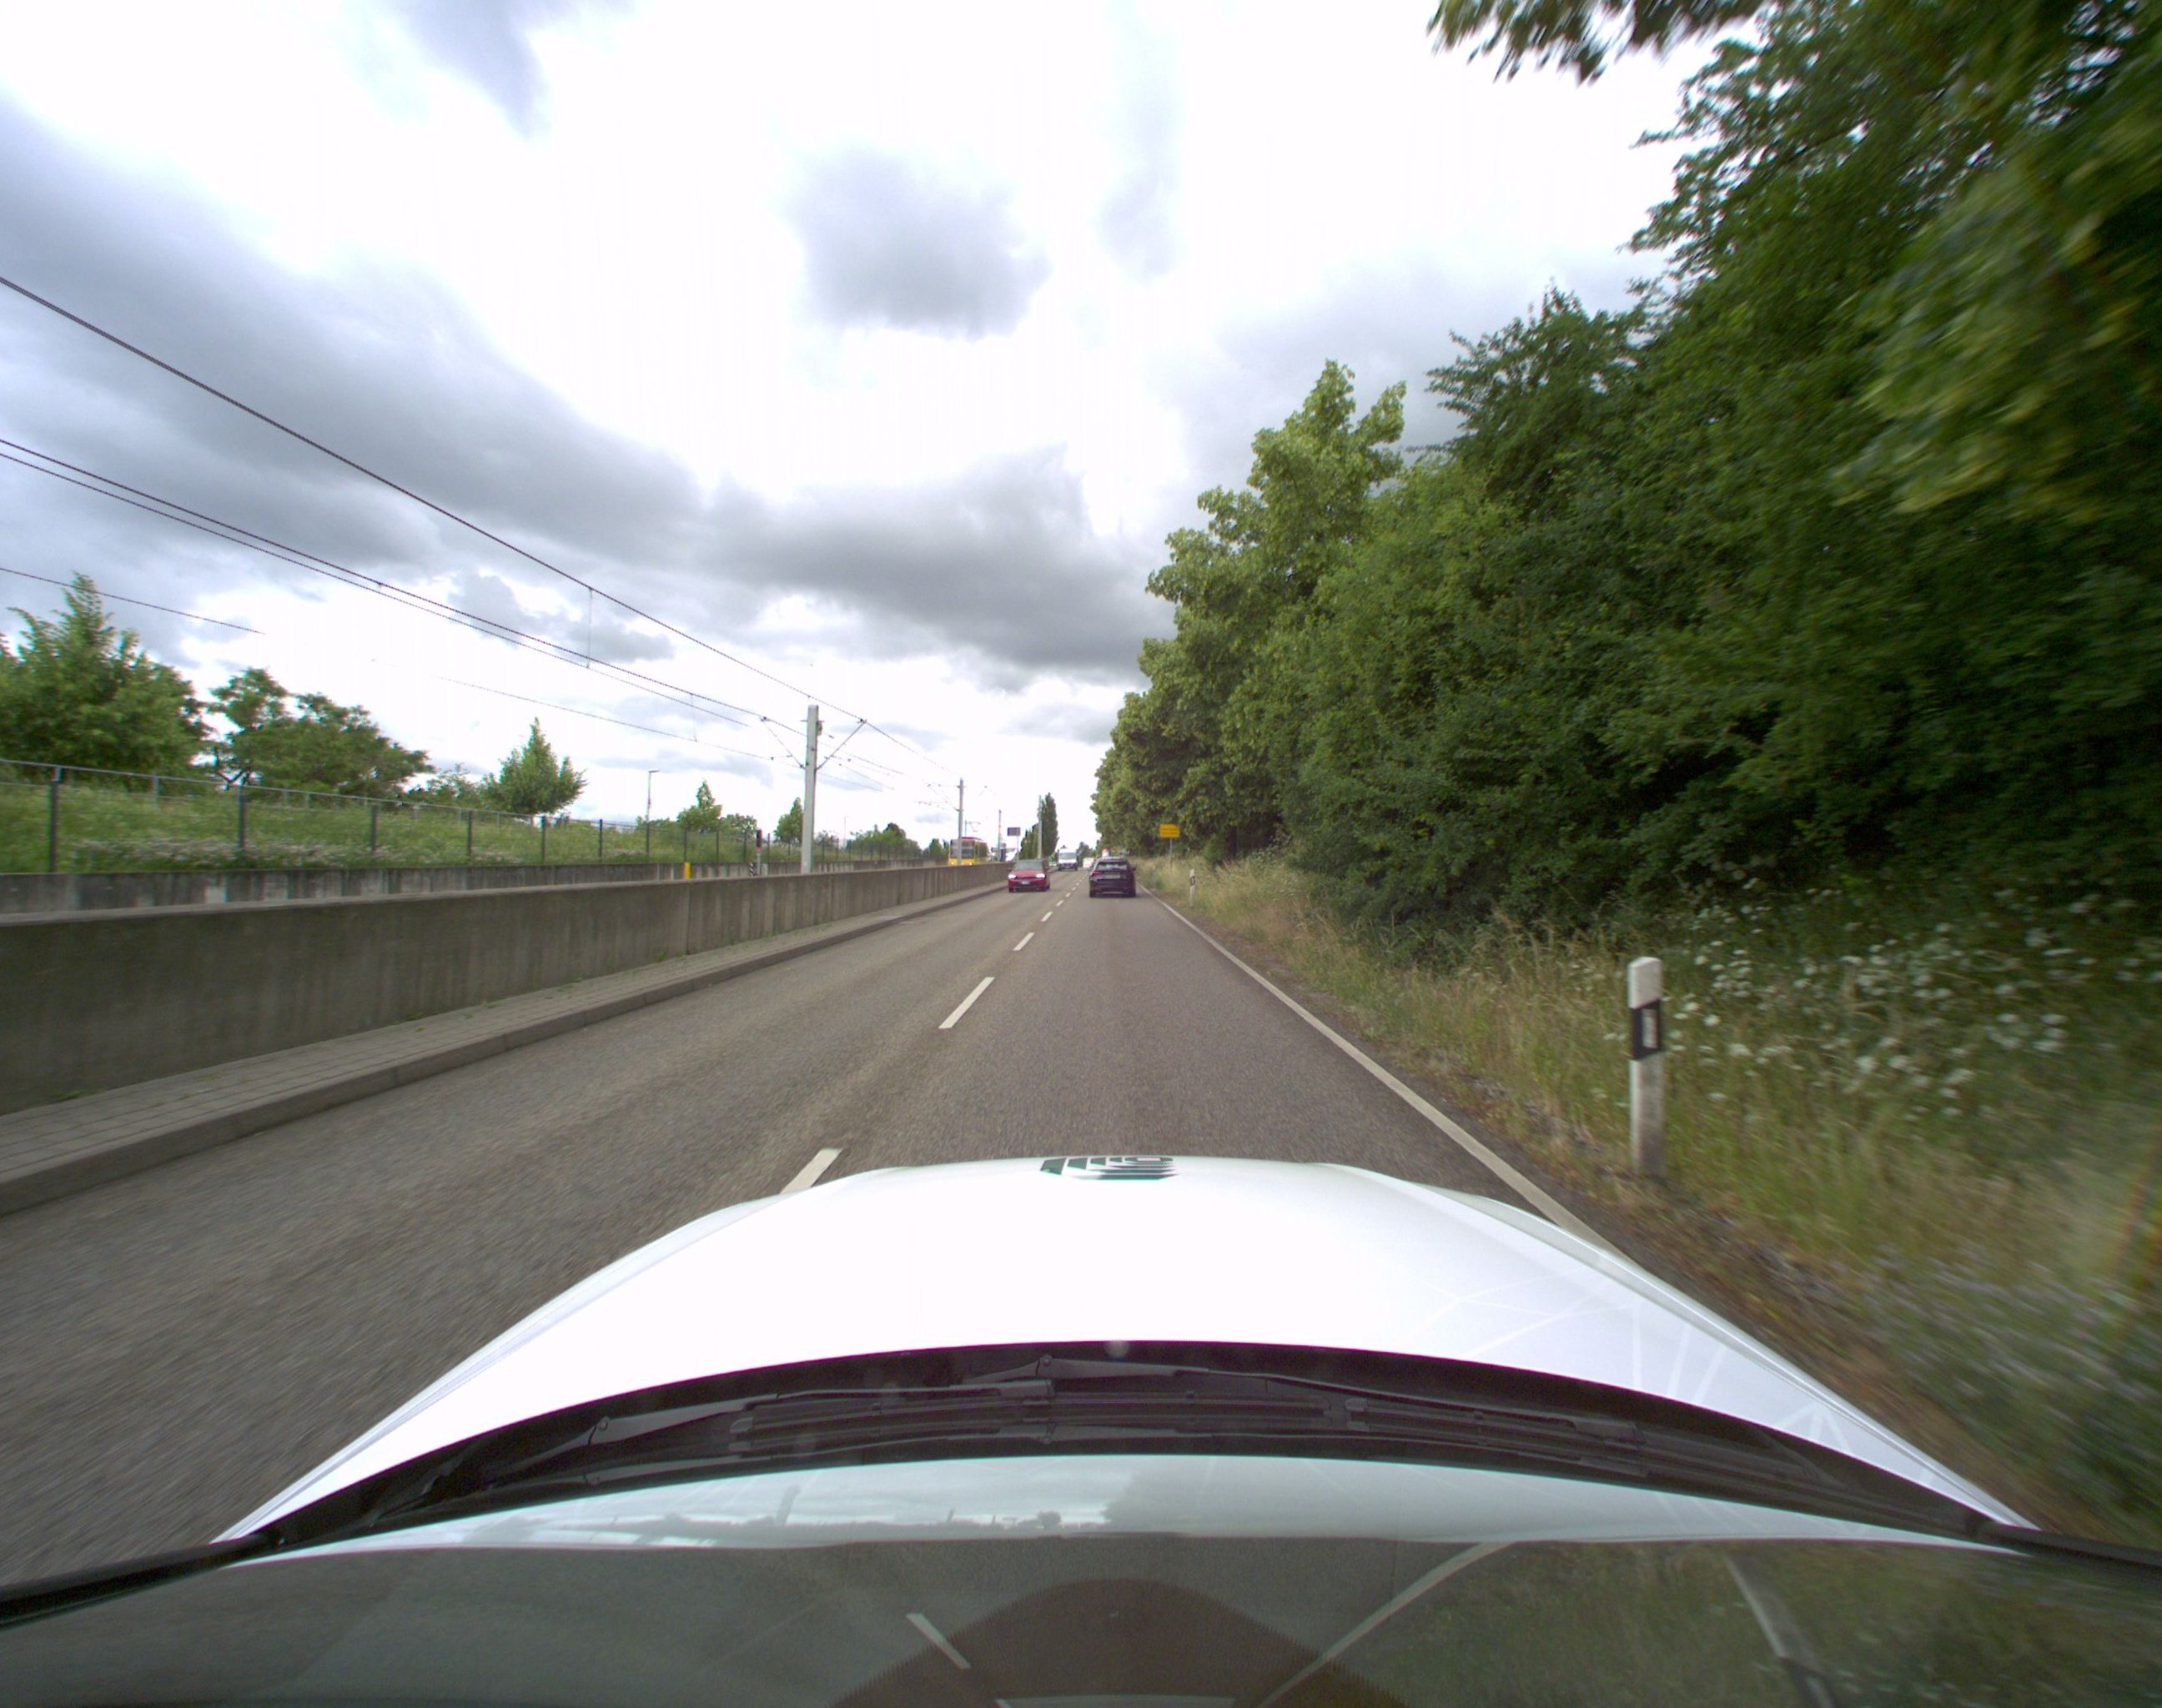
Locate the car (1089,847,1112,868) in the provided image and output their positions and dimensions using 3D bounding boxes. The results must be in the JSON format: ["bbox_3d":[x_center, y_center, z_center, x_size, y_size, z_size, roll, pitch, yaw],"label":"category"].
[{"bbox_3d":[1.742,0.321,71.540,1.986,1.740,4.001,-1,-1,1],"label":"car"}]

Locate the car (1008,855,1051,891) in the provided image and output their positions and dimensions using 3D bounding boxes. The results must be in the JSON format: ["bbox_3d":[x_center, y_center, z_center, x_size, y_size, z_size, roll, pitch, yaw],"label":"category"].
[{"bbox_3d":[-2.348,0.838,37.835,1.657,1.545,3.953,-1,0,1],"label":"car"}]

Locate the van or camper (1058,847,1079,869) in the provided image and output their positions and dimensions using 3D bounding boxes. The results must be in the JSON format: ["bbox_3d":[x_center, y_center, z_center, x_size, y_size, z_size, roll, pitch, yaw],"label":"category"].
[{"bbox_3d":[-1.316,0.431,89.856,2.075,2.396,6.138,-1,0,1],"label":"van or camper"}]

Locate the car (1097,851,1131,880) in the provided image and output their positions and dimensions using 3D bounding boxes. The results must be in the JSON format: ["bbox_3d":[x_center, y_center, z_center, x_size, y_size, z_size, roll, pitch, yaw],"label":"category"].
[{"bbox_3d":[2.018,0.689,50.730,1.986,1.753,4.001,-1,0,1],"label":"car"}]

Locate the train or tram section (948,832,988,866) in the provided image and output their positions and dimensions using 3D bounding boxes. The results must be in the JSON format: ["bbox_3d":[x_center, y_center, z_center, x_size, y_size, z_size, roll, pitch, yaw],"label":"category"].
[{"bbox_3d":[-11.601,-0.300,85.001,2.806,3.117,18.885,-1,-1,-4],"label":"train or tram section"}]

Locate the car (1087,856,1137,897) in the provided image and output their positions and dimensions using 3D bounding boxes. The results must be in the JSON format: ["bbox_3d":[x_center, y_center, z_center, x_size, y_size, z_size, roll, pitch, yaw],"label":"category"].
[{"bbox_3d":[1.182,0.817,31.599,1.775,1.468,4.001,-1,0,1],"label":"car"}]
